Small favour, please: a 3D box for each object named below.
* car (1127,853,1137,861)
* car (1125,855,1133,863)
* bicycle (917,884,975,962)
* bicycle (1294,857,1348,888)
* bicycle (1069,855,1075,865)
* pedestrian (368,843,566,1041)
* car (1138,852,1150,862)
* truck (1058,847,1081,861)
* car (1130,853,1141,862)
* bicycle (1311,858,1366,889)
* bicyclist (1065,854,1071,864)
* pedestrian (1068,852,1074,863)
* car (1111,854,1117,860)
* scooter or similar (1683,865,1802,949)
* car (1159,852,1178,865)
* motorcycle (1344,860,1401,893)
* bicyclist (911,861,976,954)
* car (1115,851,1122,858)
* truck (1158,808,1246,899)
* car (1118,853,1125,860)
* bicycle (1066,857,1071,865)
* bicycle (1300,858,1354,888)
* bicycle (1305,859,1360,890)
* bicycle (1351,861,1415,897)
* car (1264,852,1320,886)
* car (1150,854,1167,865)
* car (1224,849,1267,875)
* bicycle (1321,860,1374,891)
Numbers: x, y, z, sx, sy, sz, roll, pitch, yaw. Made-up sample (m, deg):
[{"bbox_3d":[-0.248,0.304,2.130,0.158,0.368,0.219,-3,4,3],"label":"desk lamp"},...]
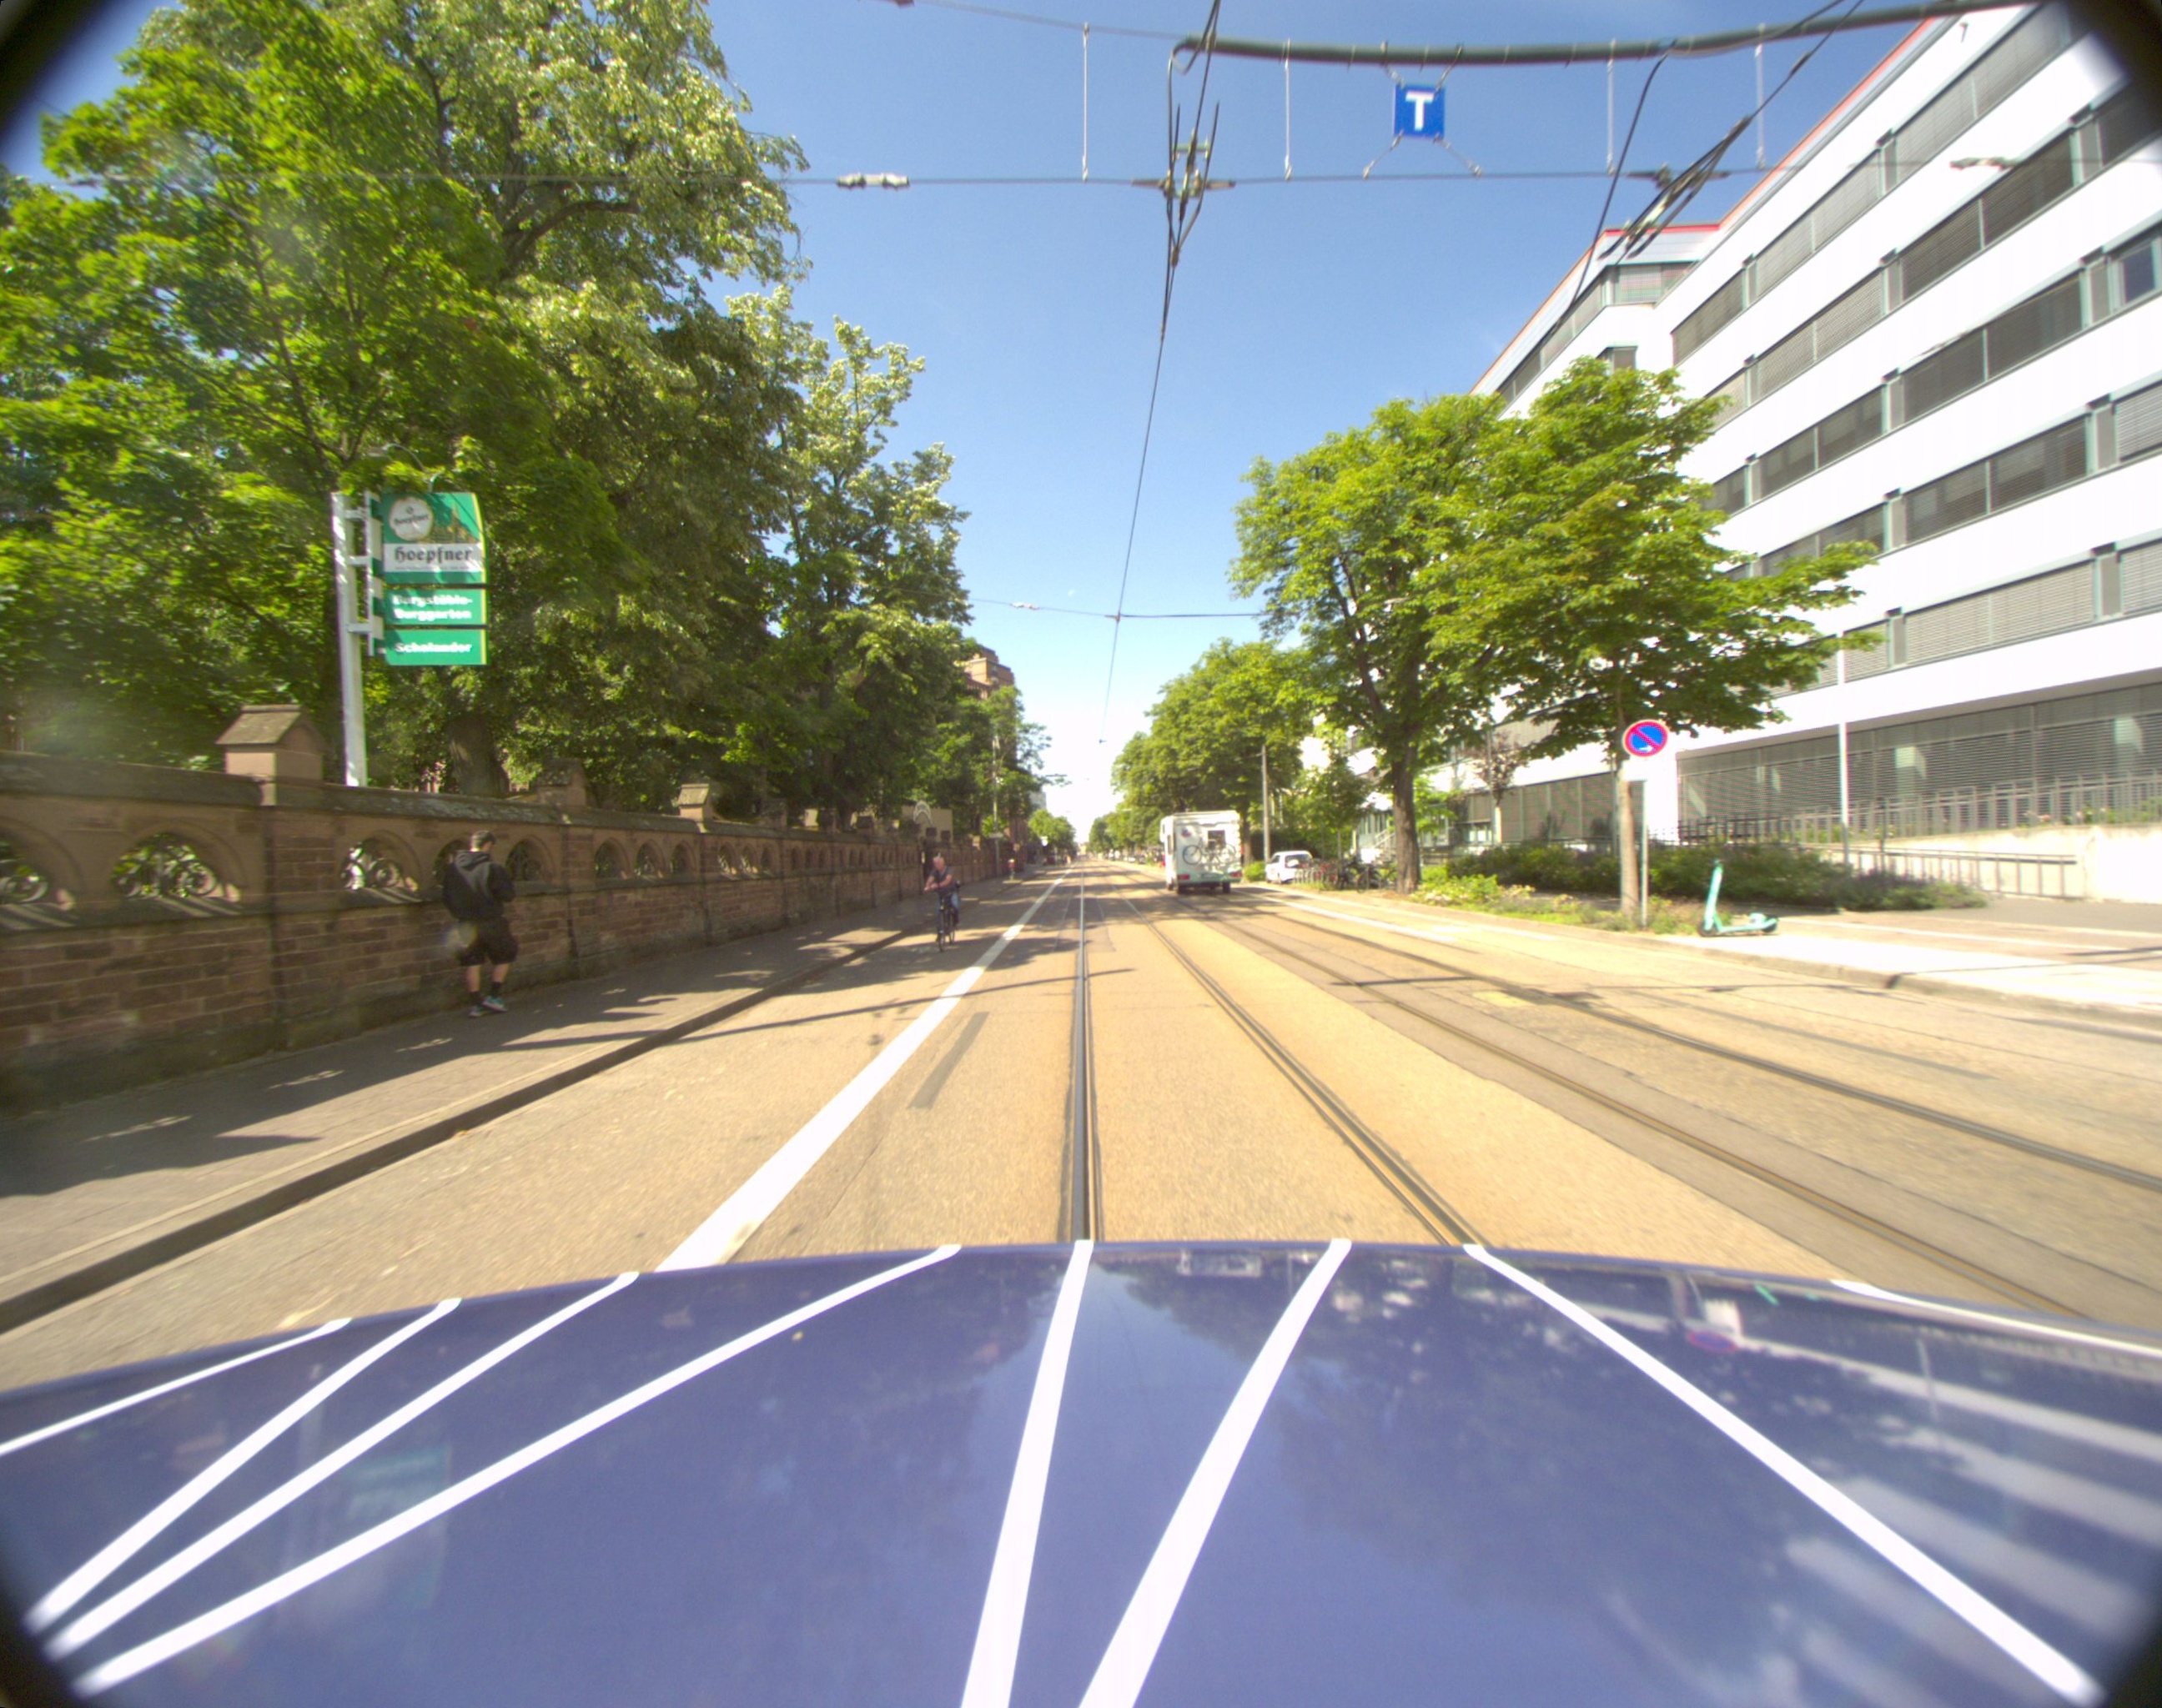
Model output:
[{"bbox_3d":[9.874,0.591,148.166,1.634,1.463,4.114,-2,0,1],"label":"car"},{"bbox_3d":[10.165,1.031,160.812,1.634,1.463,4.114,-2,0,1],"label":"car"},{"bbox_3d":[-2.454,1.223,14.051,0.611,1.190,2.123,-5,0,0],"label":"bicycle"},{"bbox_3d":[9.713,0.732,30.772,1.909,1.162,0.819,-2,0,0],"label":"bicycle"},{"bbox_3d":[-1.690,1.064,139.878,0.999,1.734,3.163,-3,0,1],"label":"bicycle"},{"bbox_3d":[-6.099,0.820,7.644,0.979,1.805,1.185,2,0,1],"label":"pedestrian"},{"bbox_3d":[9.751,0.513,118.011,1.634,1.463,4.114,-2,0,1],"label":"car"},{"bbox_3d":[-3.231,0.011,215.524,2.815,3.836,10.016,-2,0,23],"label":"truck"},{"bbox_3d":[9.709,0.623,135.840,1.634,1.463,4.114,-2,0,1],"label":"car"},{"bbox_3d":[9.786,0.726,28.917,1.797,1.080,0.726,-2,0,0],"label":"bicycle"},{"bbox_3d":[-1.945,0.705,113.215,0.742,1.522,0.947,-1,0,1],"label":"bicyclist"},{"bbox_3d":[-1.823,0.593,139.991,1.106,2.002,1.166,-3,1,0],"label":"pedestrian"},{"bbox_3d":[9.704,0.789,222.718,1.634,1.560,4.114,-2,0,1],"label":"car"},{"bbox_3d":[9.702,0.767,11.179,1.128,1.159,0.676,-2,1,3],"label":"scooter or similar"},{"bbox_3d":[9.932,0.508,86.697,1.634,1.463,3.719,-2,0,-1],"label":"car"},{"bbox_3d":[10.208,0.770,26.630,1.728,1.080,0.658,-2,0,0],"label":"motorcycle"},{"bbox_3d":[-2.491,0.941,13.853,0.905,1.586,0.964,-3,0,0],"label":"bicyclist"},{"bbox_3d":[9.961,0.076,201.864,1.634,1.936,4.114,-2,0,1],"label":"car"},{"bbox_3d":[4.465,-0.022,29.177,2.408,3.090,6.037,-2,0,1],"label":"truck"},{"bbox_3d":[9.646,0.559,180.804,1.634,1.463,4.114,-2,0,1],"label":"car"},{"bbox_3d":[-1.894,1.054,113.235,0.593,1.099,2.054,-2,0,1],"label":"bicycle"},{"bbox_3d":[9.743,0.750,30.126,1.877,1.135,0.686,-2,0,0],"label":"bicycle"},{"bbox_3d":[9.743,0.798,29.448,1.853,1.125,0.680,-2,0,0],"label":"bicycle"},{"bbox_3d":[9.684,0.804,24.410,1.728,1.080,0.789,-2,0,0],"label":"bicycle"},{"bbox_3d":[9.637,0.649,34.968,1.634,1.463,3.631,-2,0,2],"label":"car"},{"bbox_3d":[9.791,0.661,96.512,1.634,1.347,3.901,-2,0,-1],"label":"car"},{"bbox_3d":[10.165,0.493,47.297,1.634,1.474,4.272,-2,0,-1],"label":"car"},{"bbox_3d":[9.822,0.795,28.032,1.728,1.080,0.639,-2,0,0],"label":"bicycle"}]
